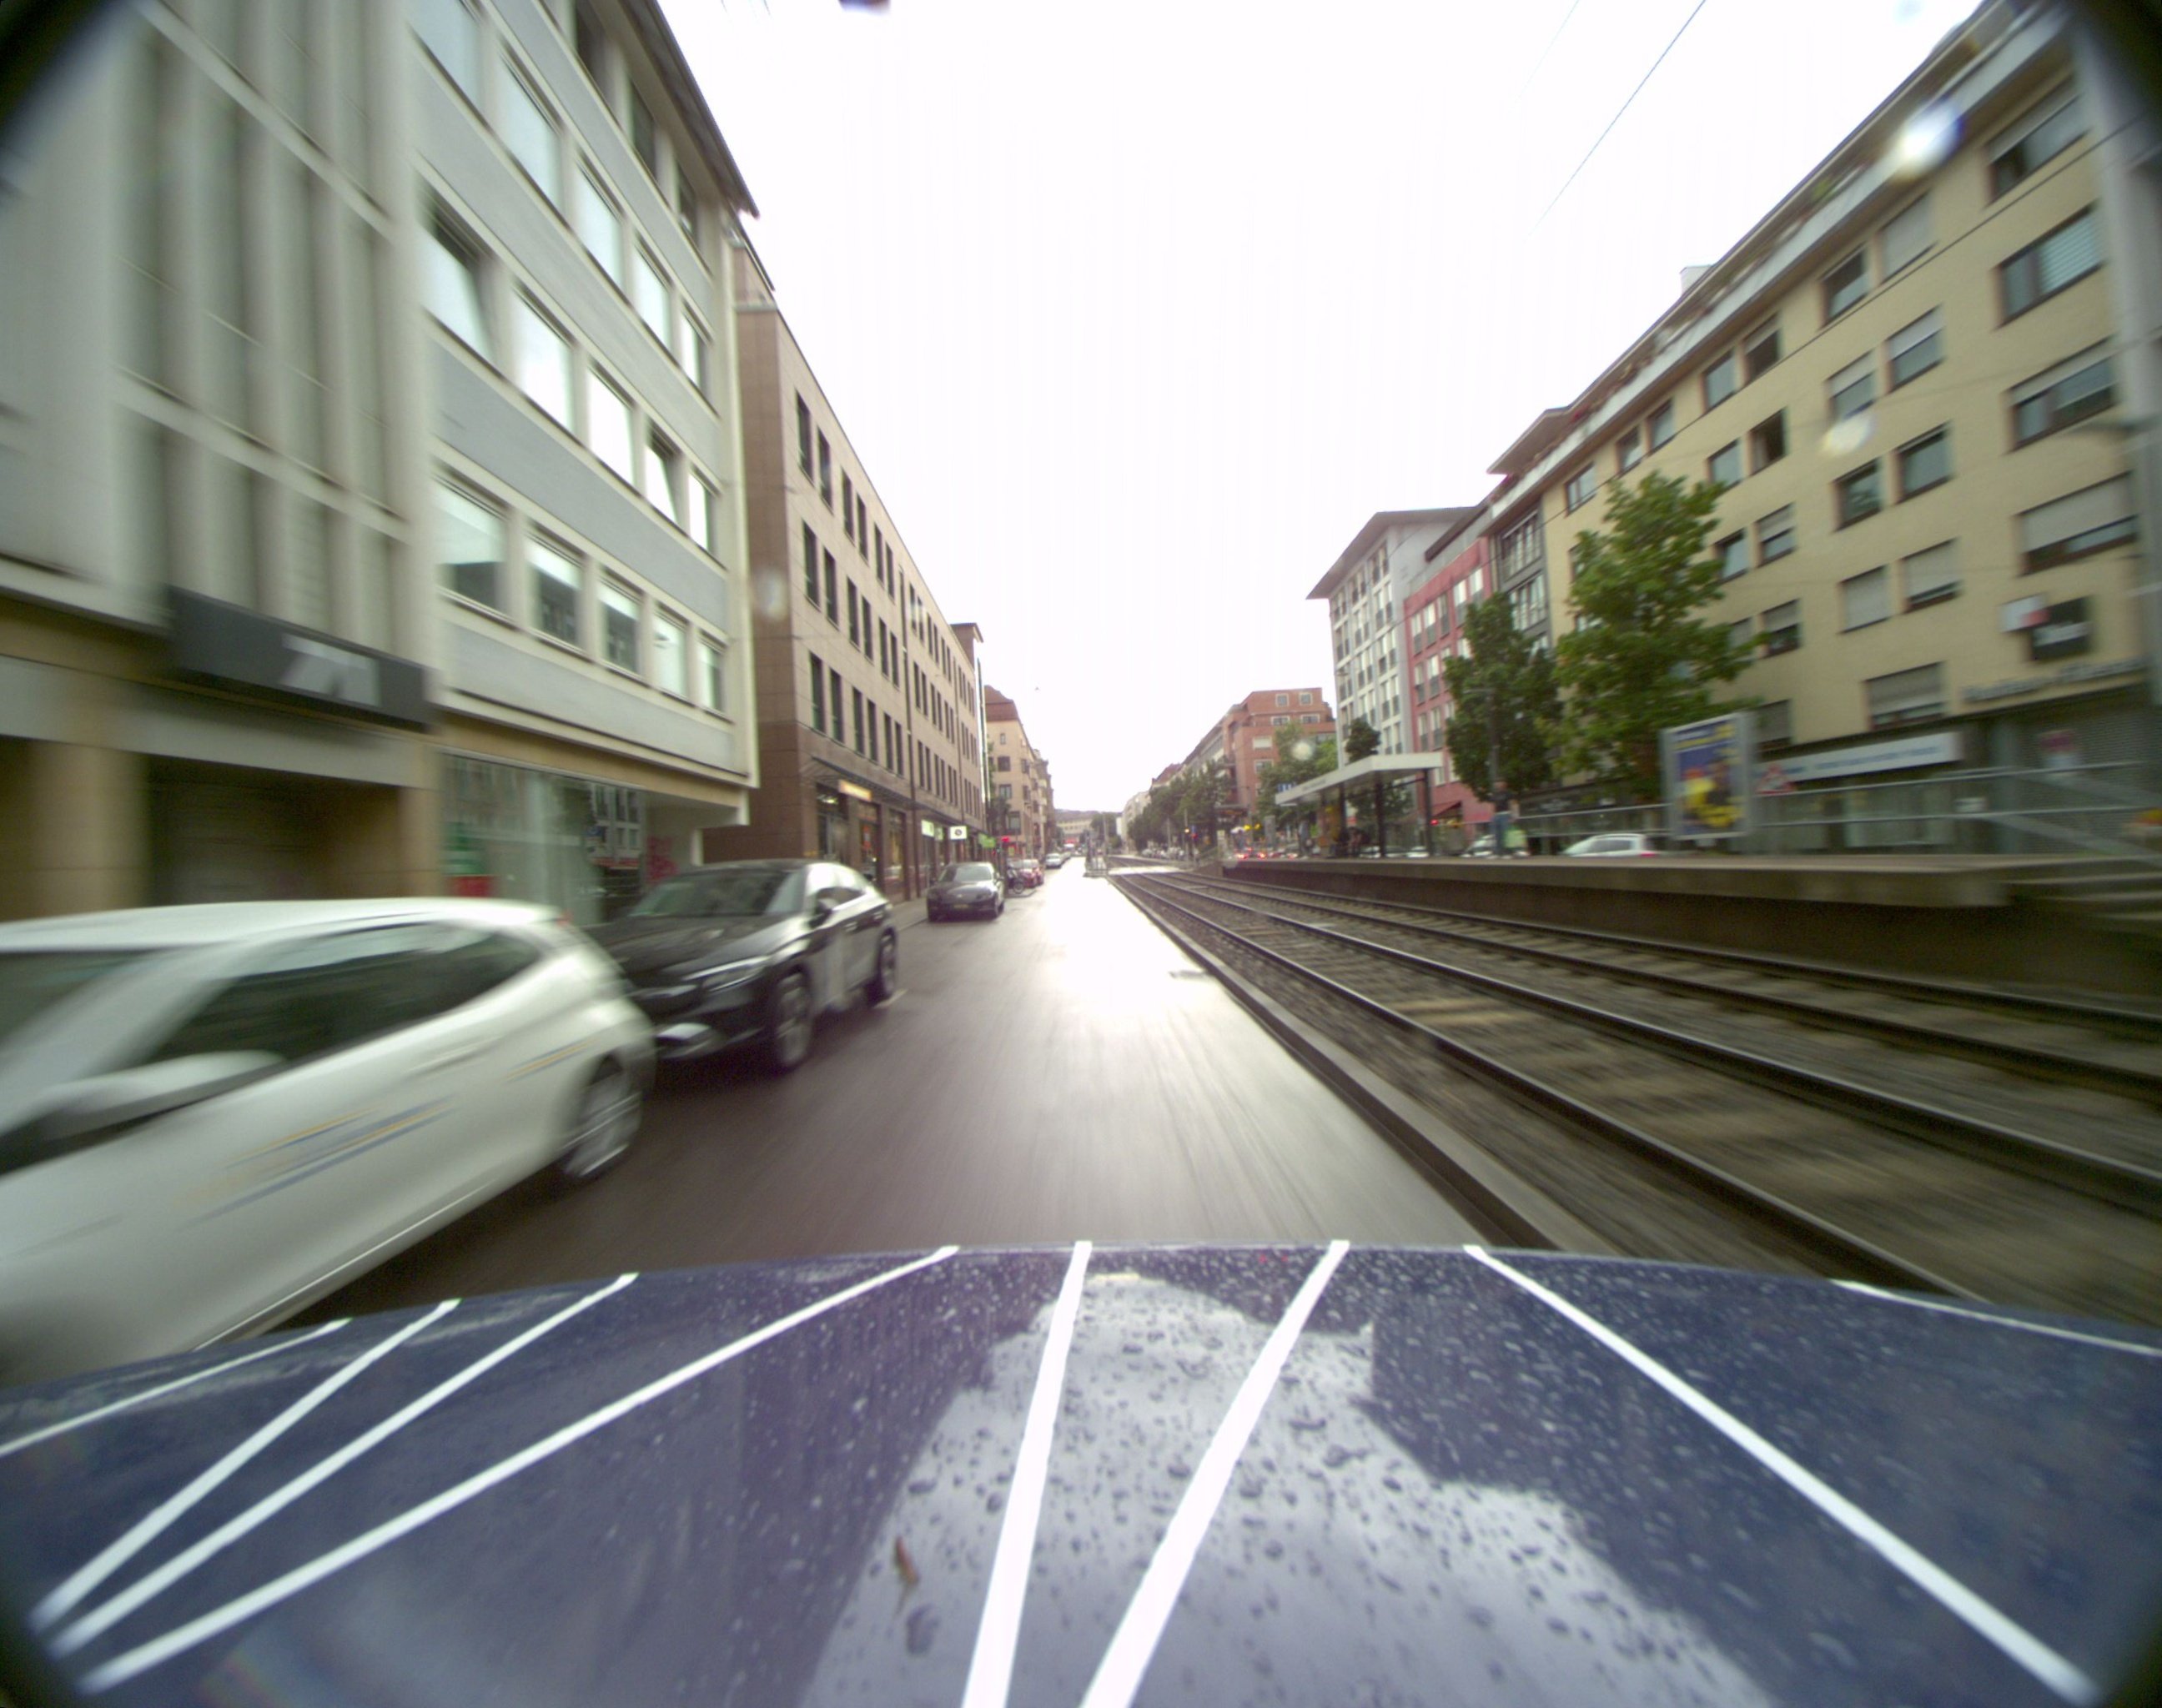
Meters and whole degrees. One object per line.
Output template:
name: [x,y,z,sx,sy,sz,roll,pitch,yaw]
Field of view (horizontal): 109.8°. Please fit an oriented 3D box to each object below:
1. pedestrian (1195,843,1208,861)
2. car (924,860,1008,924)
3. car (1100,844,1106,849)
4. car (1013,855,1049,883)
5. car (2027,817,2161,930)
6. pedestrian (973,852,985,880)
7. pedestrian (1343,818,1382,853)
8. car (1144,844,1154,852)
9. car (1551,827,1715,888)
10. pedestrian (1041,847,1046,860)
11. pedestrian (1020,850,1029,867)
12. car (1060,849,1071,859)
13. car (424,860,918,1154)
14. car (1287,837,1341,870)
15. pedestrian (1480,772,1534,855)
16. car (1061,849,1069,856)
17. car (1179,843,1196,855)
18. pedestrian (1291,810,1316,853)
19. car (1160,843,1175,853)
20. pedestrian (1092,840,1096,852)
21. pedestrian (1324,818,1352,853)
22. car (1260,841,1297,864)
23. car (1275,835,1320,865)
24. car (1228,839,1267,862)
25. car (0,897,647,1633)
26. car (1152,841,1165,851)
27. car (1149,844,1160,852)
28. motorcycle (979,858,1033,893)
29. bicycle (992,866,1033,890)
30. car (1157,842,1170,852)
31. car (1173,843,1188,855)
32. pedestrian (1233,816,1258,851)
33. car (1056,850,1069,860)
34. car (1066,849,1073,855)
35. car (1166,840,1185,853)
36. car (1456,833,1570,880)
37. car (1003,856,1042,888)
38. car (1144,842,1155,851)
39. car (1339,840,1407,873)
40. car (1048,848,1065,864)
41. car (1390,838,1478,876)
pedestrian: [11.513,-0.169,72.696,0.821,1.687,0.985,-4,1,-8]
car: [-3.108,0.967,21.442,1.779,1.460,4.608,-3,1,-2]
car: [7.129,-2.303,245.486,1.696,1.454,4.528,-3,1,-3]
car: [-2.877,0.832,44.241,1.703,1.471,3.867,-1,1,2]
car: [14.680,0.229,8.987,1.572,1.428,4.236,-3,1,-3]
pedestrian: [-6.154,0.703,45.871,0.603,1.650,0.625,-2,2,0]
pedestrian: [9.593,-0.628,25.937,0.895,1.117,0.849,-3,1,-10]
car: [13.474,-1.221,151.152,1.643,1.529,4.021,-3,1,1]
car: [14.711,0.067,20.525,1.572,1.428,3.734,-3,1,-3]
pedestrian: [-5.433,-0.113,110.651,0.530,1.848,0.556,-3,2,-7]
pedestrian: [-6.019,0.446,81.479,0.665,1.809,0.597,-1,2,41]
car: [-2.735,0.005,131.548,1.720,1.454,3.444,-3,1,1]
car: [-3.037,0.953,7.196,1.812,1.622,5.168,-3,1,0]
car: [14.362,-0.050,47.149,1.807,1.847,4.379,-3,1,-2]
pedestrian: [9.515,-0.893,17.011,0.657,1.791,0.850,-3,1,-2]
car: [-3.347,-0.339,160.119,1.628,1.343,3.828,-3,1,-1]
car: [14.678,-0.703,104.689,1.643,1.614,4.370,-3,1,1]
pedestrian: [8.962,-0.889,30.597,0.657,1.701,0.850,-3,1,-2]
car: [14.334,-0.978,126.462,1.696,1.454,4.528,-3,1,-3]
pedestrian: [1.857,-1.152,108.651,0.585,1.600,0.701,-2,2,-2]
pedestrian: [9.649,-0.690,28.515,0.694,1.242,0.884,-3,1,-2]
car: [14.897,-0.093,57.540,1.730,1.602,4.553,-3,0,1]
car: [14.845,-0.281,52.349,1.712,1.847,4.319,-3,1,-2]
car: [12.218,-0.265,56.175,1.811,1.569,5.020,-3,1,1]
car: [-3.187,1.014,2.321,1.561,1.468,3.565,-3,1,1]
car: [14.273,-1.473,140.124,1.678,1.807,4.431,-3,1,-1]
car: [14.079,-1.220,145.718,1.643,1.432,4.728,-3,1,-1]
motorcycle: [-3.155,0.909,31.992,2.086,1.399,0.800,-2,2,18]
bicycle: [-3.146,1.089,34.884,1.791,1.025,0.462,-2,2,-1]
car: [14.571,-1.263,134.530,1.643,1.530,3.803,-3,1,-1]
car: [14.526,-0.759,111.264,1.643,1.527,4.370,-3,1,1]
pedestrian: [9.717,-1.181,44.960,1.119,2.002,1.383,-2,1,0]
car: [-2.788,0.116,115.878,1.911,1.454,4.244,-3,1,0]
car: [-2.639,-0.540,177.096,1.588,1.343,3.976,-3,1,-1]
car: [14.623,-1.165,117.354,1.912,1.834,5.255,-3,1,-4]
car: [14.541,0.060,25.816,1.572,1.428,3.734,-3,1,-3]
car: [-3.001,0.900,39.545,1.703,1.454,3.866,-1,1,0]
car: [14.170,-1.561,157.200,1.662,1.575,4.337,-3,1,-1]
car: [14.051,0.091,36.755,1.572,1.428,3.977,-3,1,-3]
car: [-2.982,0.183,93.080,1.911,1.796,4.775,-3,1,-2]
car: [14.768,0.110,32.025,1.678,1.428,3.977,-3,1,-3]
